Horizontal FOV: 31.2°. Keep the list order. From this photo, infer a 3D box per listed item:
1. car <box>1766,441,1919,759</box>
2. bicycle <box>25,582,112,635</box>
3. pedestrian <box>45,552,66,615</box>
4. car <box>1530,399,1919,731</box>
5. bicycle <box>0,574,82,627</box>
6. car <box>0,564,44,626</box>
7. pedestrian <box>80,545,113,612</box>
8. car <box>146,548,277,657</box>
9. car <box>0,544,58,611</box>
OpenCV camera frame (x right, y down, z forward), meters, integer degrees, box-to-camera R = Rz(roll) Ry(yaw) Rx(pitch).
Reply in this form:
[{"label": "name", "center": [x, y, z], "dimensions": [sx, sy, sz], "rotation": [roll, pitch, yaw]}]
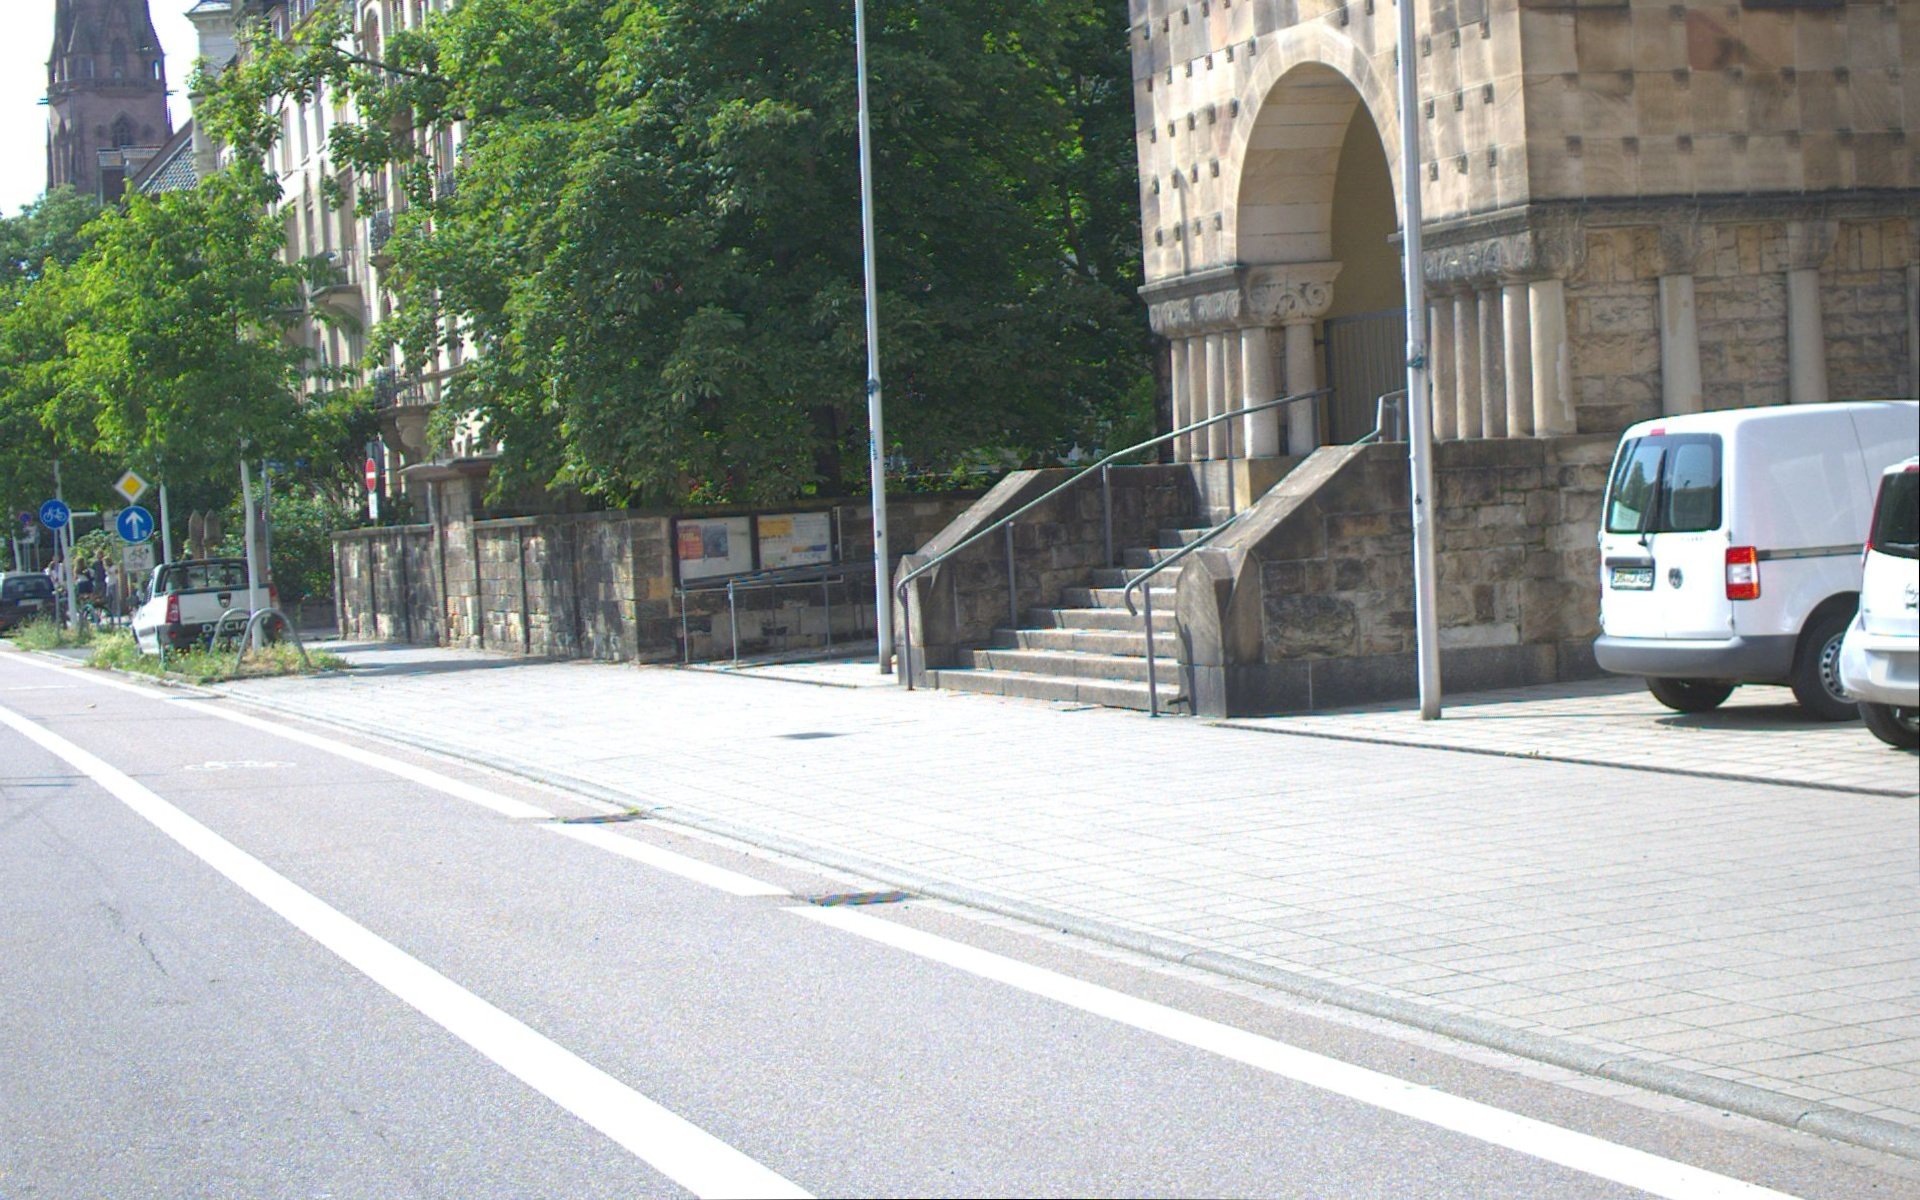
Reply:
[{"label": "car", "center": [6.284, -0.109, 17.623], "dimensions": [3.766, 1.541, 1.798], "rotation": [-3, 2, -20]}, {"label": "bicycle", "center": [-19.320, 0.182, 74.519], "dimensions": [1.705, 1.065, 0.471], "rotation": [-4, 1, -24]}, {"label": "pedestrian", "center": [-24.937, -0.456, 94.799], "dimensions": [0.318, 1.700, 0.461], "rotation": [-5, 2, -5]}, {"label": "car", "center": [5.733, -0.297, 20.956], "dimensions": [4.001, 1.817, 1.864], "rotation": [-3, 2, -21]}, {"label": "bicycle", "center": [-24.404, 0.038, 89.258], "dimensions": [2.946, 1.242, 0.793], "rotation": [-4, 2, -31]}, {"label": "car", "center": [-25.933, -0.116, 92.457], "dimensions": [1.798, 1.521, 4.490], "rotation": [-5, 2, -22]}, {"label": "pedestrian", "center": [-24.070, -0.606, 95.837], "dimensions": [0.669, 1.798, 0.319], "rotation": [-6, 2, -20]}, {"label": "car", "center": [-10.578, 0.006, 48.793], "dimensions": [1.668, 1.411, 3.845], "rotation": [-1, 2, -11]}, {"label": "car", "center": [-22.822, -0.552, 82.925], "dimensions": [1.685, 1.497, 4.709], "rotation": [-3, 2, -18]}]
